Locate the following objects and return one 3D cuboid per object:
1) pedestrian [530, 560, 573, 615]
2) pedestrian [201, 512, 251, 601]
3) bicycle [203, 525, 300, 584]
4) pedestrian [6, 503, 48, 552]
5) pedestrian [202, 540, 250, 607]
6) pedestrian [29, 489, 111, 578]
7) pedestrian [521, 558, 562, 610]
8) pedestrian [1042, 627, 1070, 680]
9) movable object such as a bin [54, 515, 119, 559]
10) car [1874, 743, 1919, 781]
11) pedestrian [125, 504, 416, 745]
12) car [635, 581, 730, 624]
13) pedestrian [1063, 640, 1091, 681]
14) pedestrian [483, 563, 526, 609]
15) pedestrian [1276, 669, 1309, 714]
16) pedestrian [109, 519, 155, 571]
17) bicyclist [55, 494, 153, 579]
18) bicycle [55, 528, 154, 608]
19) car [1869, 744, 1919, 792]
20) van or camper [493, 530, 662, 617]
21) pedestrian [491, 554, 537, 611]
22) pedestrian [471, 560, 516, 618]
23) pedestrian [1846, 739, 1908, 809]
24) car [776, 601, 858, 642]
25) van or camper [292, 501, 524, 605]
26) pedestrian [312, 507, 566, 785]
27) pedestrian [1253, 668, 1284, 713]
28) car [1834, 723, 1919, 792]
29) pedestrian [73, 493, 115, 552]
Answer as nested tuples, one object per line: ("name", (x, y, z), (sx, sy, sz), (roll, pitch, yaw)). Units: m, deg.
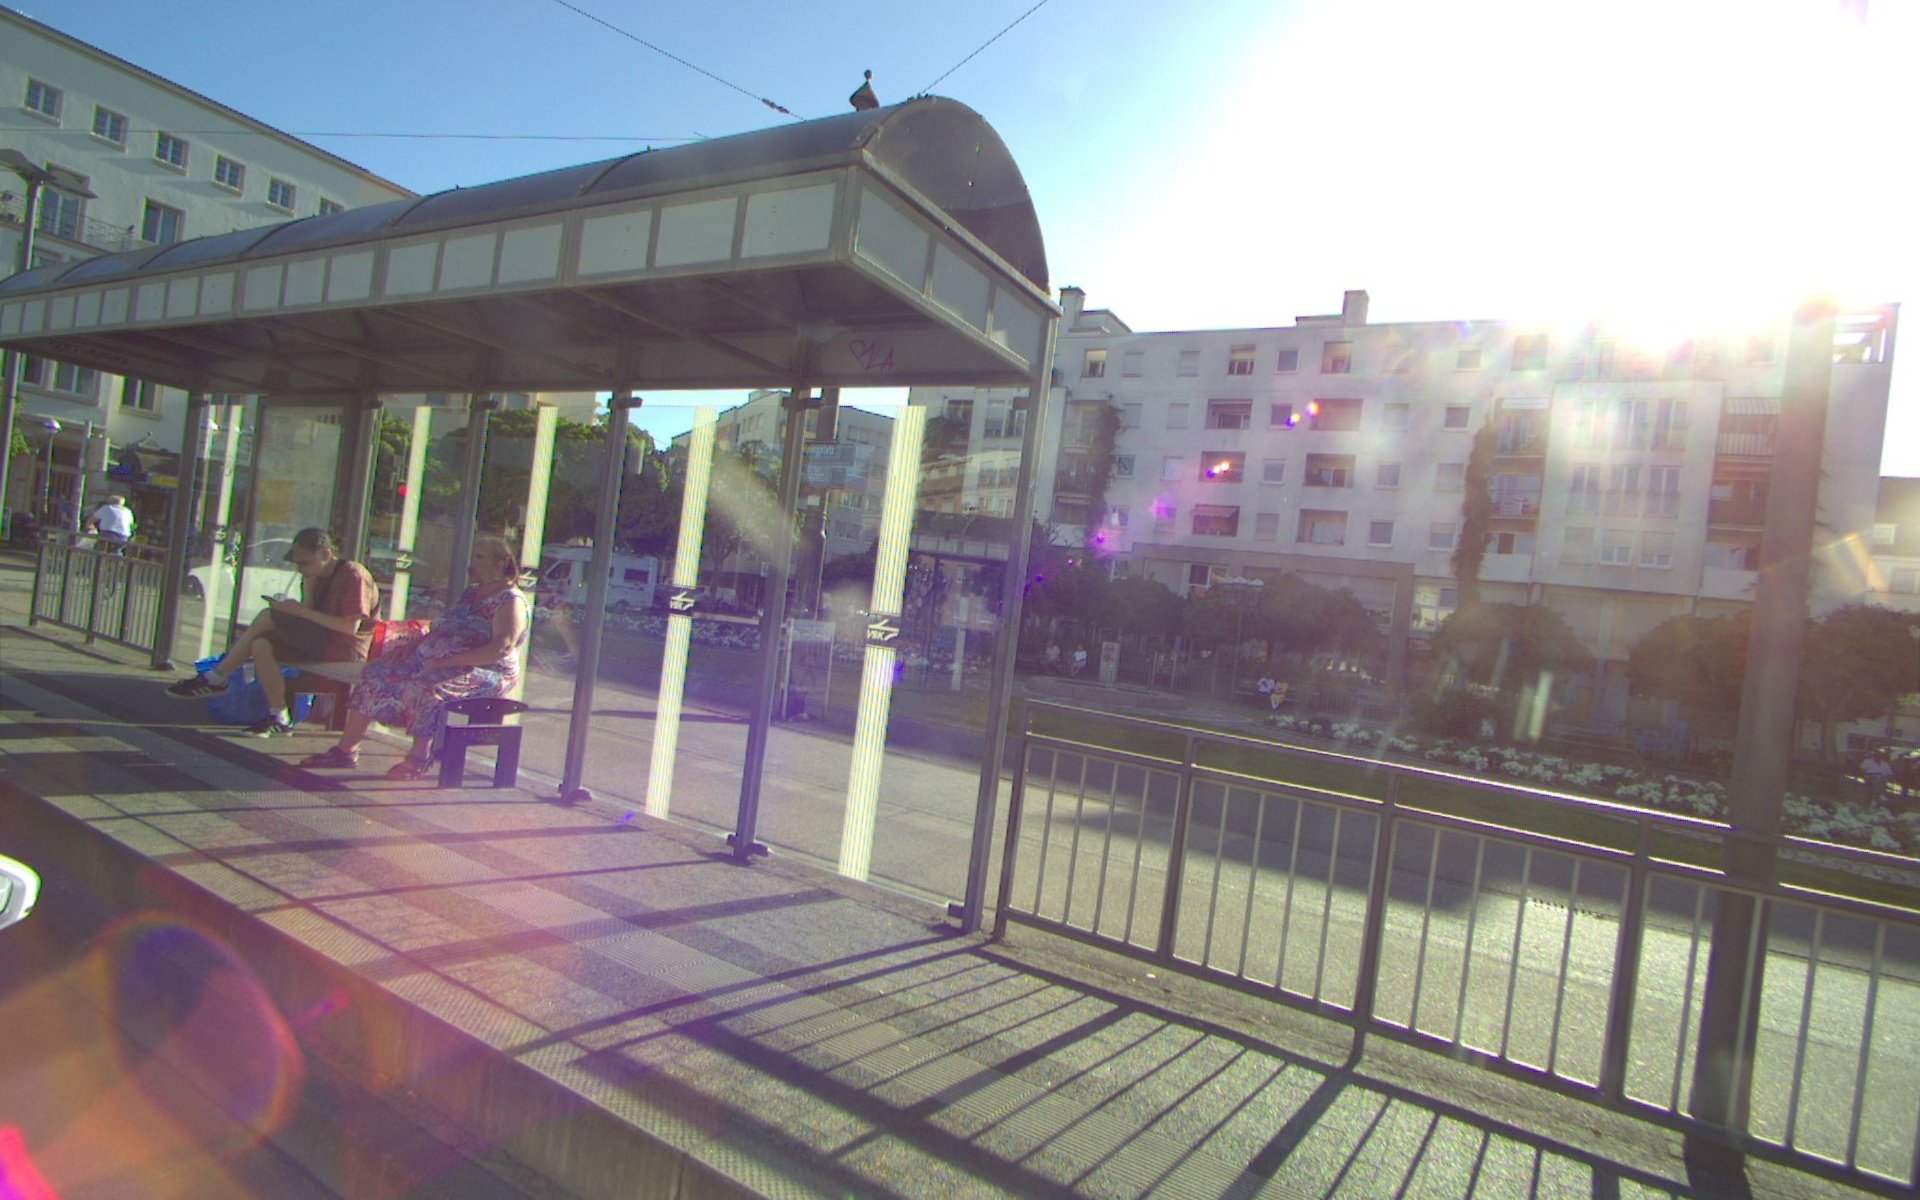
("pedestrian", (-12.875, -0.395, 31.714), (0.651, 1.604, 0.902), (7, 0, 35))
("pedestrian", (-15.198, -0.899, 20.827), (0.520, 1.765, 0.557), (6, -1, 42))
("bicycle", (-23.549, -1.499, 33.491), (0.714, 1.548, 2.391), (7, -3, 31))
("pedestrian", (-28.071, -2.177, 30.283), (0.736, 1.332, 0.622), (7, 0, -35))
("pedestrian", (-14.530, -0.518, 19.916), (0.520, 1.240, 0.557), (6, -2, 42))
("pedestrian", (-20.906, -1.551, 23.629), (1.110, 1.900, 0.983), (6, -1, 29))
("pedestrian", (-13.868, -0.532, 33.336), (0.651, 1.604, 0.902), (7, 0, 35))
("pedestrian", (3.350, 1.870, 35.062), (0.661, 1.745, 1.028), (7, 0, 11))
("movable object such as a bin", (-28.122, -2.020, 32.377), (1.197, 1.167, 1.200), (7, -1, 32))
("car", (39.888, 6.814, 40.753), (3.941, 1.303, 1.993), (7, -1, 38))
("pedestrian", (-4.086, 0.166, 6.006), (0.908, 1.238, 1.001), (6, -4, 32))
("car", (-13.658, 0.129, 49.607), (1.974, 1.529, 3.982), (6, -3, 43))
("pedestrian", (4.069, 2.092, 34.924), (0.718, 1.287, 1.042), (7, 0, 11))
("pedestrian", (-14.140, -0.420, 31.242), (0.595, 1.295, 0.901), (7, 0, 37))
("pedestrian", (10.291, 2.824, 31.143), (0.718, 1.287, 0.745), (7, 0, 11))
("pedestrian", (-25.279, -1.672, 30.721), (0.742, 1.427, 0.731), (11, 1, 32))
("bicyclist", (-14.417, -1.068, 16.948), (0.919, 1.239, 0.951), (7, -2, 37))
("bicycle", (-14.347, -0.553, 16.849), (2.288, 1.073, 0.719), (7, -2, 38))
("car", (36.303, 6.415, 37.027), (3.941, 1.535, 1.993), (7, -1, 38))
("van or camper", (-16.511, -1.064, 43.840), (2.340, 2.873, 6.411), (7, -1, 35))
("pedestrian", (-13.673, -0.538, 30.845), (0.651, 1.604, 0.902), (7, 0, 35))
("pedestrian", (-14.689, -0.344, 31.674), (0.684, 1.705, 0.902), (7, 0, 35))
("pedestrian", (21.604, 4.071, 23.730), (0.923, 1.428, 1.521), (7, -1, 42))
("car", (-6.760, 1.051, 47.873), (1.964, 1.503, 4.000), (7, -1, 23))
("van or camper", (-20.411, -1.636, 37.681), (2.331, 2.780, 7.132), (9, 0, 32))
("pedestrian", (-2.800, 0.267, 5.465), (0.613, 1.348, 0.861), (6, -4, 31))
("pedestrian", (9.591, 2.796, 31.314), (0.718, 1.287, 0.745), (7, 0, 11))
("car", (43.833, 7.356, 45.123), (6.286, 2.585, 2.812), (7, -1, 29))
("pedestrian", (-29.473, -2.623, 34.235), (0.667, 1.861, 0.785), (7, 0, 35))
